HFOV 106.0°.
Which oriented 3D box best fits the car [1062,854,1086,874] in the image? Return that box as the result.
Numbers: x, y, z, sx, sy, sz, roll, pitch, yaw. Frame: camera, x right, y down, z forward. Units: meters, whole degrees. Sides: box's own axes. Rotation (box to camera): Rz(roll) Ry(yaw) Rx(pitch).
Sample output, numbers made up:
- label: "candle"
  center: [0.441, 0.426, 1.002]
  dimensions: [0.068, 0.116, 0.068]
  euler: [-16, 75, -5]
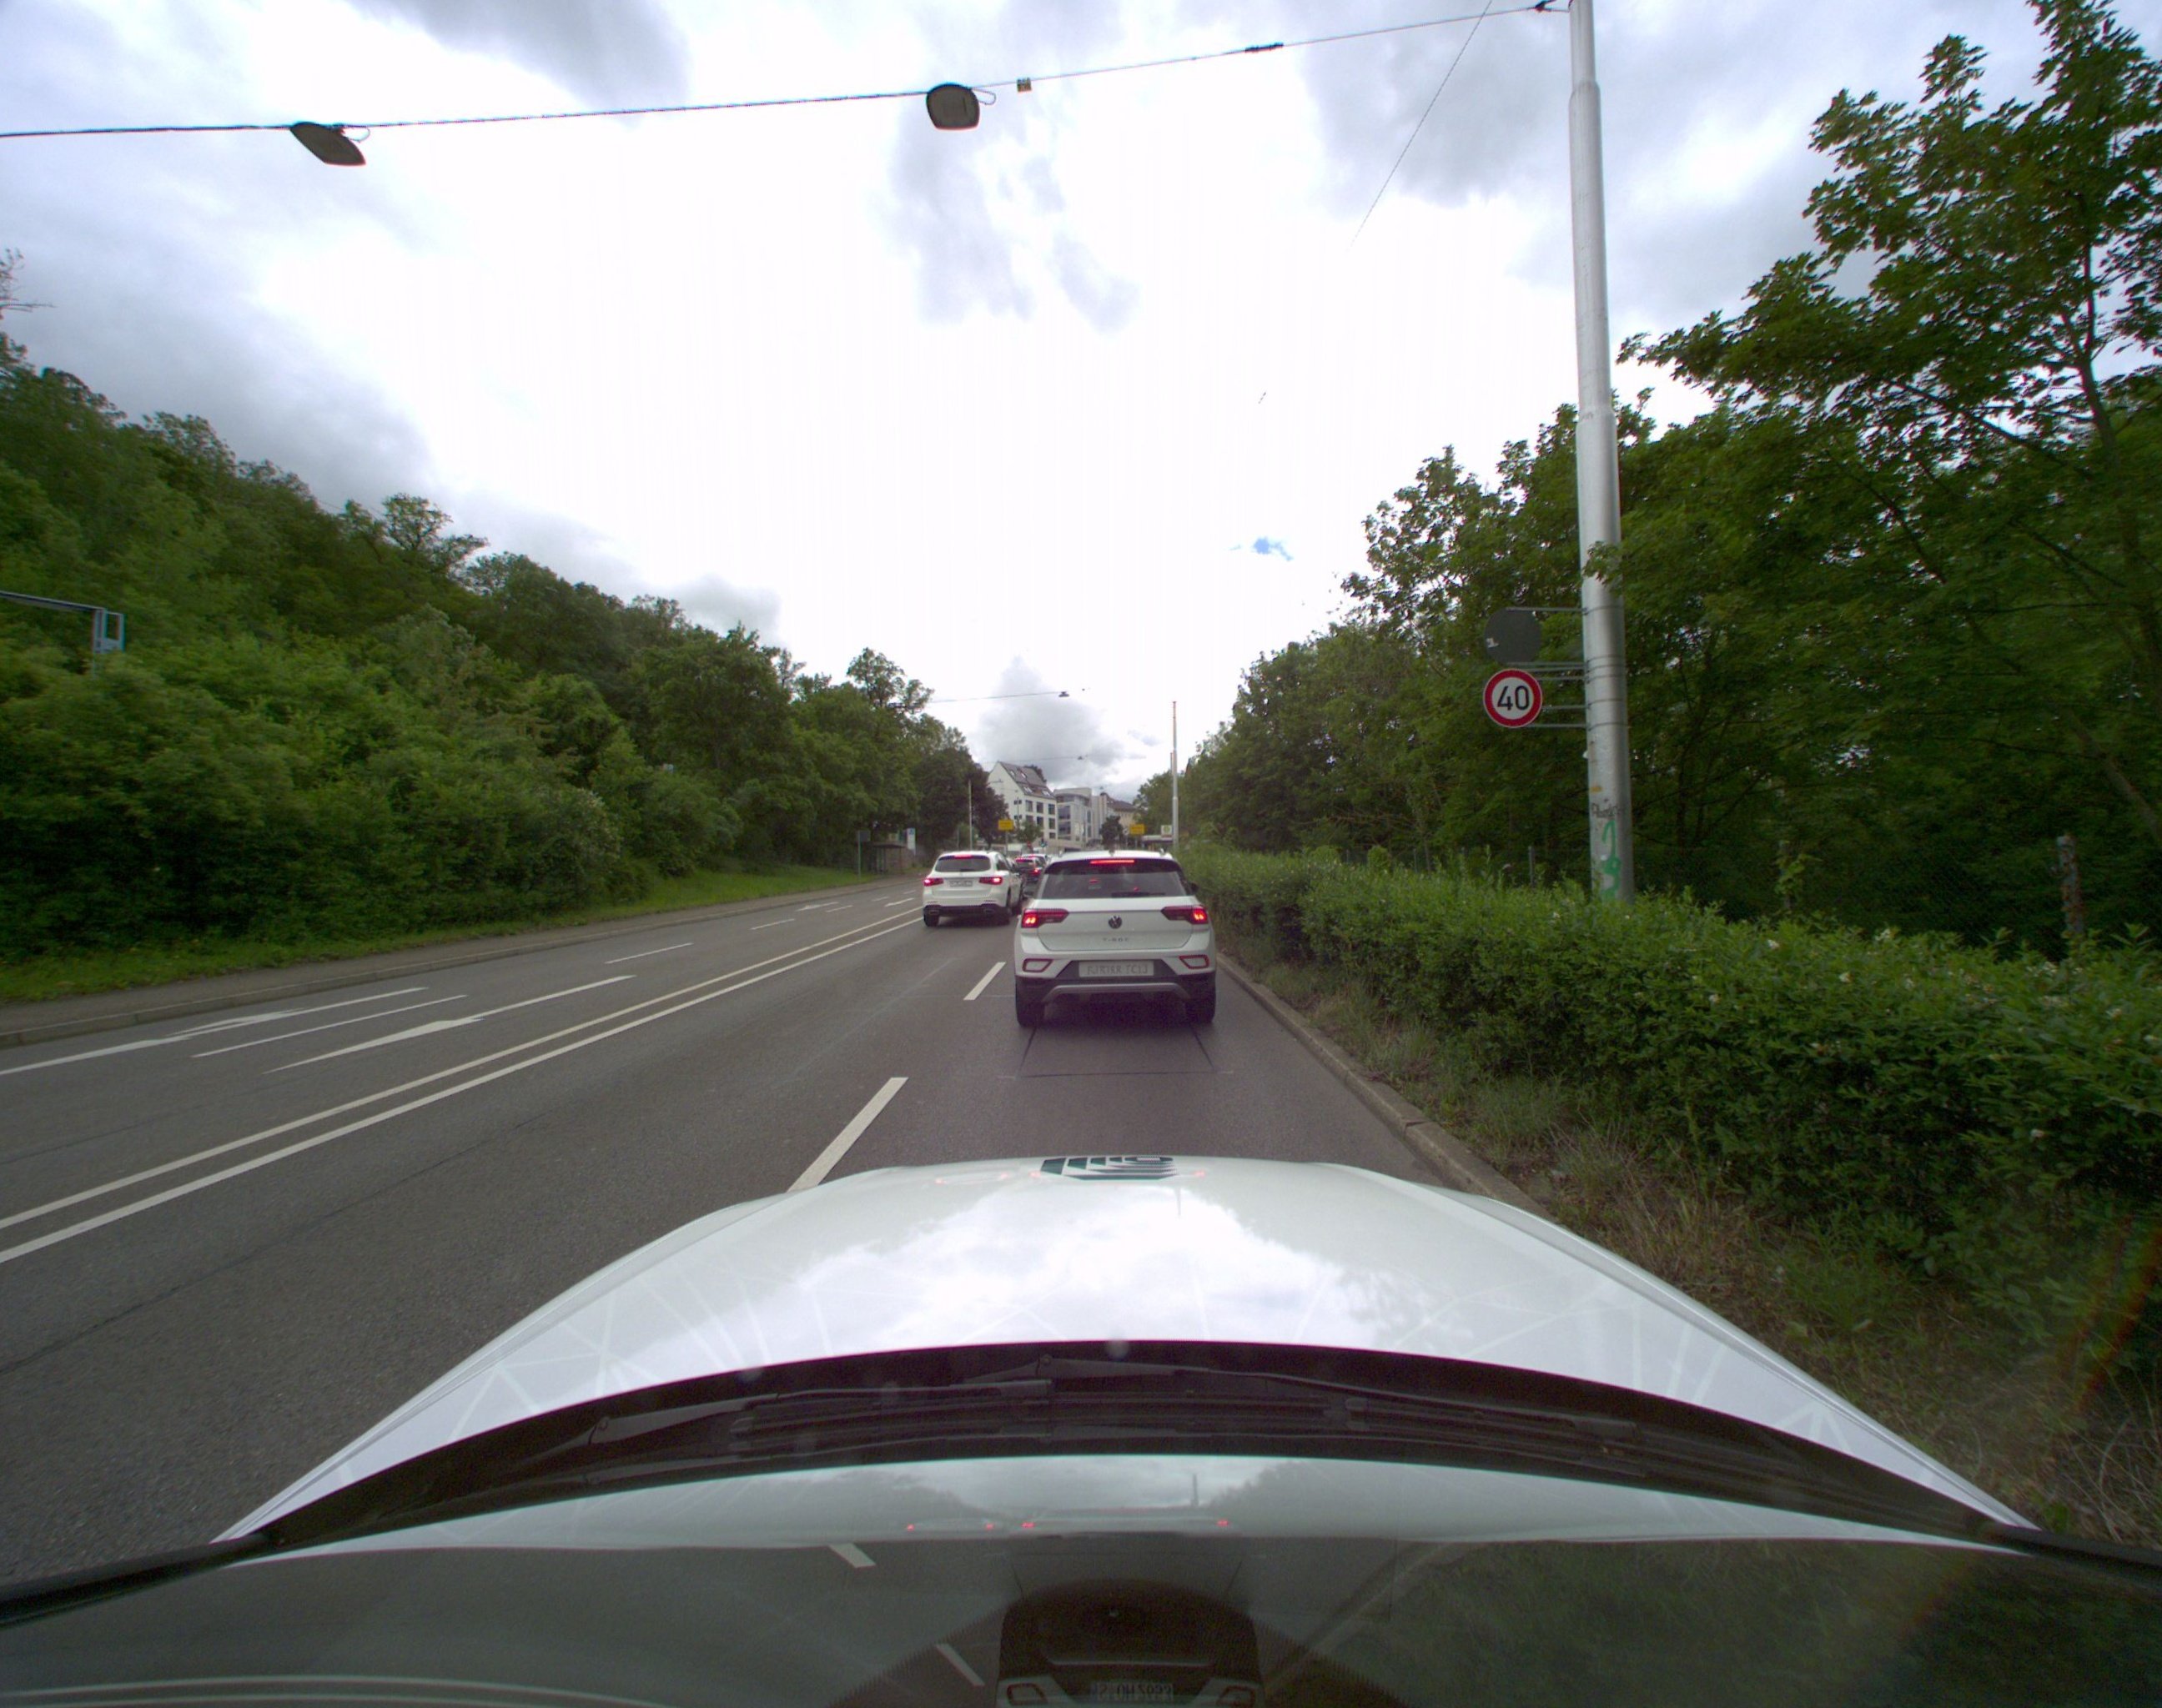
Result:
- label: "car"
  center: [-0.579, 0.825, 68.747]
  dimensions: [1.823, 1.526, 4.001]
  euler: [-2, 0, 1]

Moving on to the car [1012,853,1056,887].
- label: "car"
  center: [-2.276, 0.738, 40.434]
  dimensions: [1.823, 1.526, 4.001]
  euler: [-2, 0, 1]

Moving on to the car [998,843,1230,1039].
- label: "car"
  center: [0.304, 0.697, 8.541]
  dimensions: [1.823, 1.526, 4.001]
  euler: [-2, 0, 1]

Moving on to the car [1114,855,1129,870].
- label: "car"
  center: [5.741, 1.199, 116.989]
  dimensions: [1.986, 2.013, 4.001]
  euler: [-3, 0, 1]

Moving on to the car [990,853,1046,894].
- label: "car"
  center: [-2.505, 0.754, 33.280]
  dimensions: [1.823, 1.526, 4.001]
  euler: [-2, 0, 1]

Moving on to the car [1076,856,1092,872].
- label: "car"
  center: [0.369, 1.176, 96.731]
  dimensions: [1.809, 1.656, 3.929]
  euler: [-3, 0, 1]

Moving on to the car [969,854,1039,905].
- label: "car"
  center: [-2.480, 0.774, 27.069]
  dimensions: [1.823, 1.497, 4.001]
  euler: [-2, 0, 1]

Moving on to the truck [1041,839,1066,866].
- label: "truck"
  center: [-2.929, -0.169, 87.145]
  dimensions: [2.354, 2.782, 4.478]
  euler: [-3, 0, 1]

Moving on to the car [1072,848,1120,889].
- label: "car"
  center: [0.614, 0.572, 33.623]
  dimensions: [1.823, 1.526, 4.001]
  euler: [-2, 0, 1]

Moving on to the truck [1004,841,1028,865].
- label: "truck"
  center: [-8.955, -0.104, 112.359]
  dimensions: [2.284, 3.051, 6.984]
  euler: [-3, 0, 3]

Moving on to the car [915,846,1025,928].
- label: "car"
  center: [-2.439, 0.686, 18.906]
  dimensions: [1.911, 1.669, 4.001]
  euler: [-1, 0, 1]

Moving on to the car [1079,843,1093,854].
- label: "car"
  center: [0.749, -0.761, 118.410]
  dimensions: [1.823, 1.526, 4.001]
  euler: [-2, 0, 1]

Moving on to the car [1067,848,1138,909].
- label: "car"
  center: [0.599, 0.652, 23.331]
  dimensions: [1.823, 1.526, 4.001]
  euler: [-2, 0, 1]

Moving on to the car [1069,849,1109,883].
- label: "car"
  center: [0.401, 0.553, 40.505]
  dimensions: [1.823, 1.526, 4.001]
  euler: [-2, 0, 1]

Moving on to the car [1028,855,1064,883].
- label: "car"
  center: [-2.017, 0.840, 48.070]
  dimensions: [1.823, 1.526, 4.001]
  euler: [-2, 0, 1]

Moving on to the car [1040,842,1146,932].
- label: "car"
  center: [0.248, 0.594, 16.469]
  dimensions: [1.823, 1.526, 4.001]
  euler: [-2, 0, 1]

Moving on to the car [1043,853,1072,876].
- label: "car"
  center: [-1.658, 0.699, 58.039]
  dimensions: [1.823, 1.526, 4.001]
  euler: [-2, 0, 1]

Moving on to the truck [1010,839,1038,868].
- label: "truck"
  center: [-5.723, -0.045, 82.538]
  dimensions: [2.354, 2.706, 4.478]
  euler: [-3, 0, 1]
